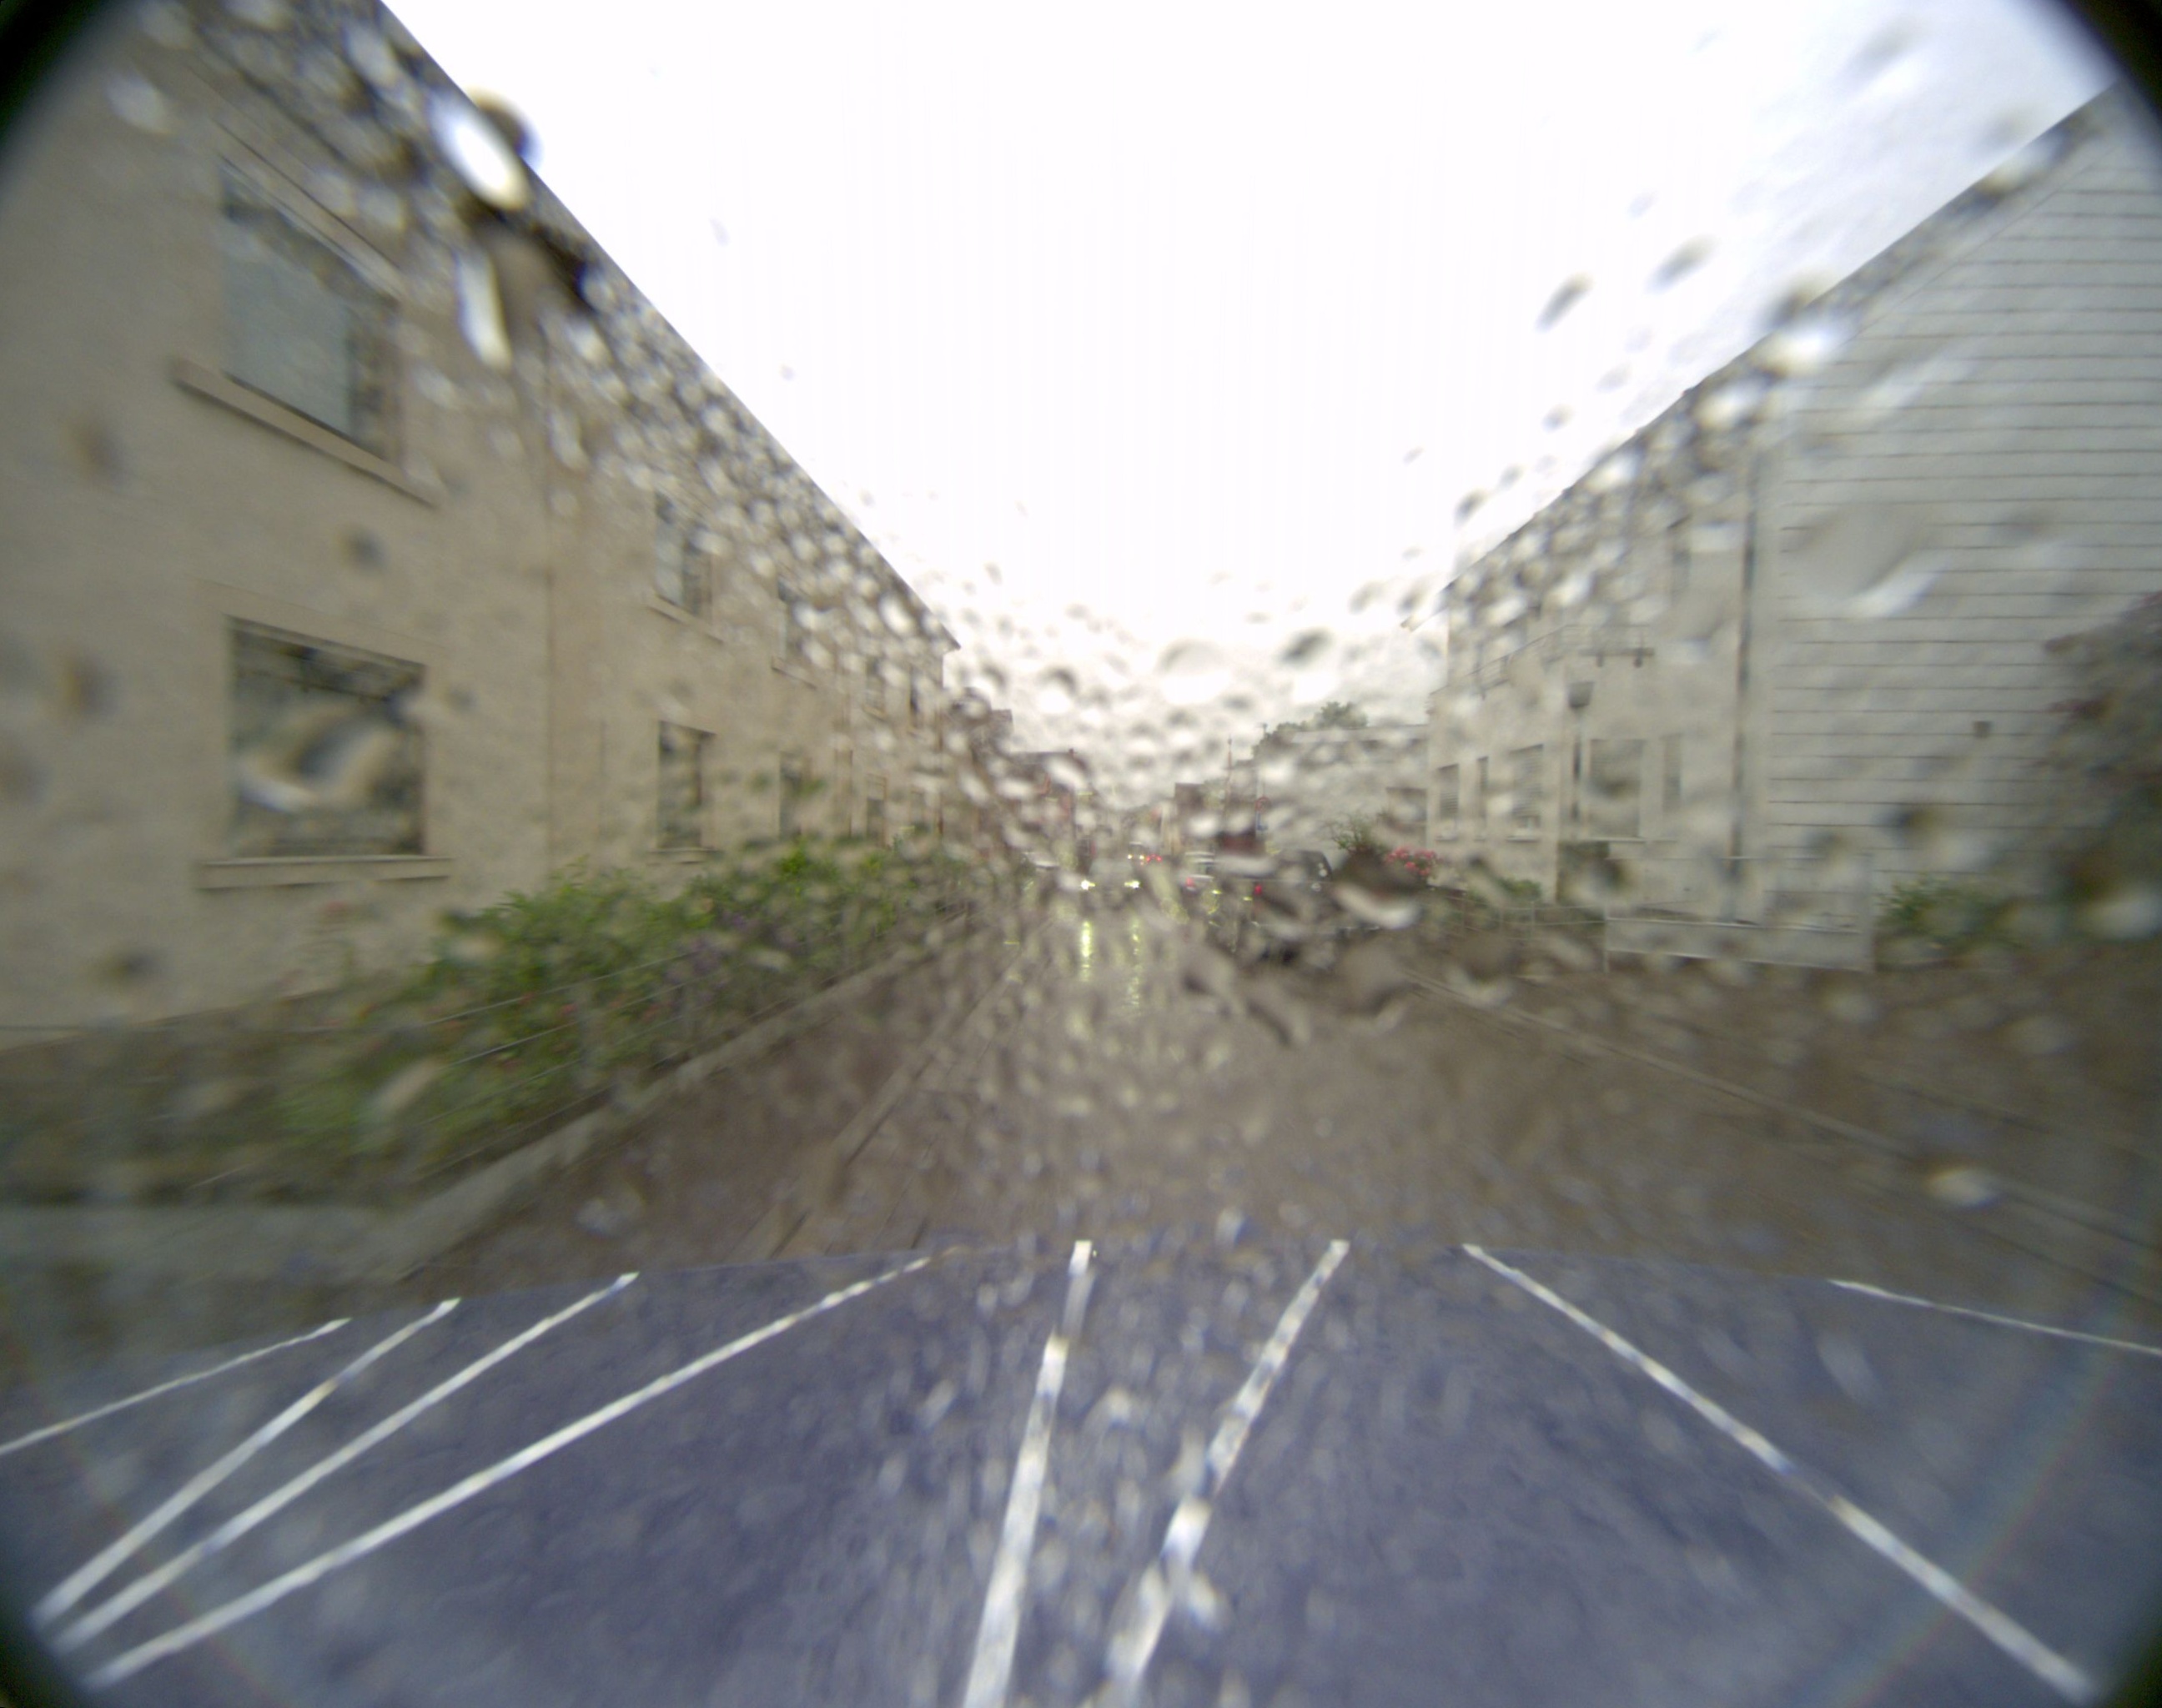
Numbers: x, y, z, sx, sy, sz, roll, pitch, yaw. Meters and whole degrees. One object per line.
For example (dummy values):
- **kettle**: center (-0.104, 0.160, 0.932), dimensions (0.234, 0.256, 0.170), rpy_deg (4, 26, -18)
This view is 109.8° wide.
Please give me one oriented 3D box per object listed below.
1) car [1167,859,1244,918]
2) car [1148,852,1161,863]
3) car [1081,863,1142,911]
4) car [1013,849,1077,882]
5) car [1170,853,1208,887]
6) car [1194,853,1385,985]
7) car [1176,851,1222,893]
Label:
- **car**: center (3.458, 0.925, 21.617), dimensions (1.583, 1.472, 3.716), rpy_deg (2, 0, 1)
- **car**: center (10.893, 0.453, 112.539), dimensions (1.859, 1.497, 4.163), rpy_deg (1, 1, 5)
- **car**: center (0.876, 0.966, 23.315), dimensions (1.667, 1.290, 3.518), rpy_deg (-1, 0, -1)
- **car**: center (-1.923, 0.563, 39.156), dimensions (1.894, 1.566, 3.883), rpy_deg (-2, 1, -26)
- **car**: center (5.571, 0.792, 39.520), dimensions (1.675, 1.607, 4.185), rpy_deg (1, 1, 5)
- **car**: center (3.184, 0.871, 12.809), dimensions (1.838, 1.663, 5.197), rpy_deg (1, 1, 1)
- **car**: center (5.194, 0.757, 33.979), dimensions (1.815, 1.674, 4.185), rpy_deg (2, 1, 6)
